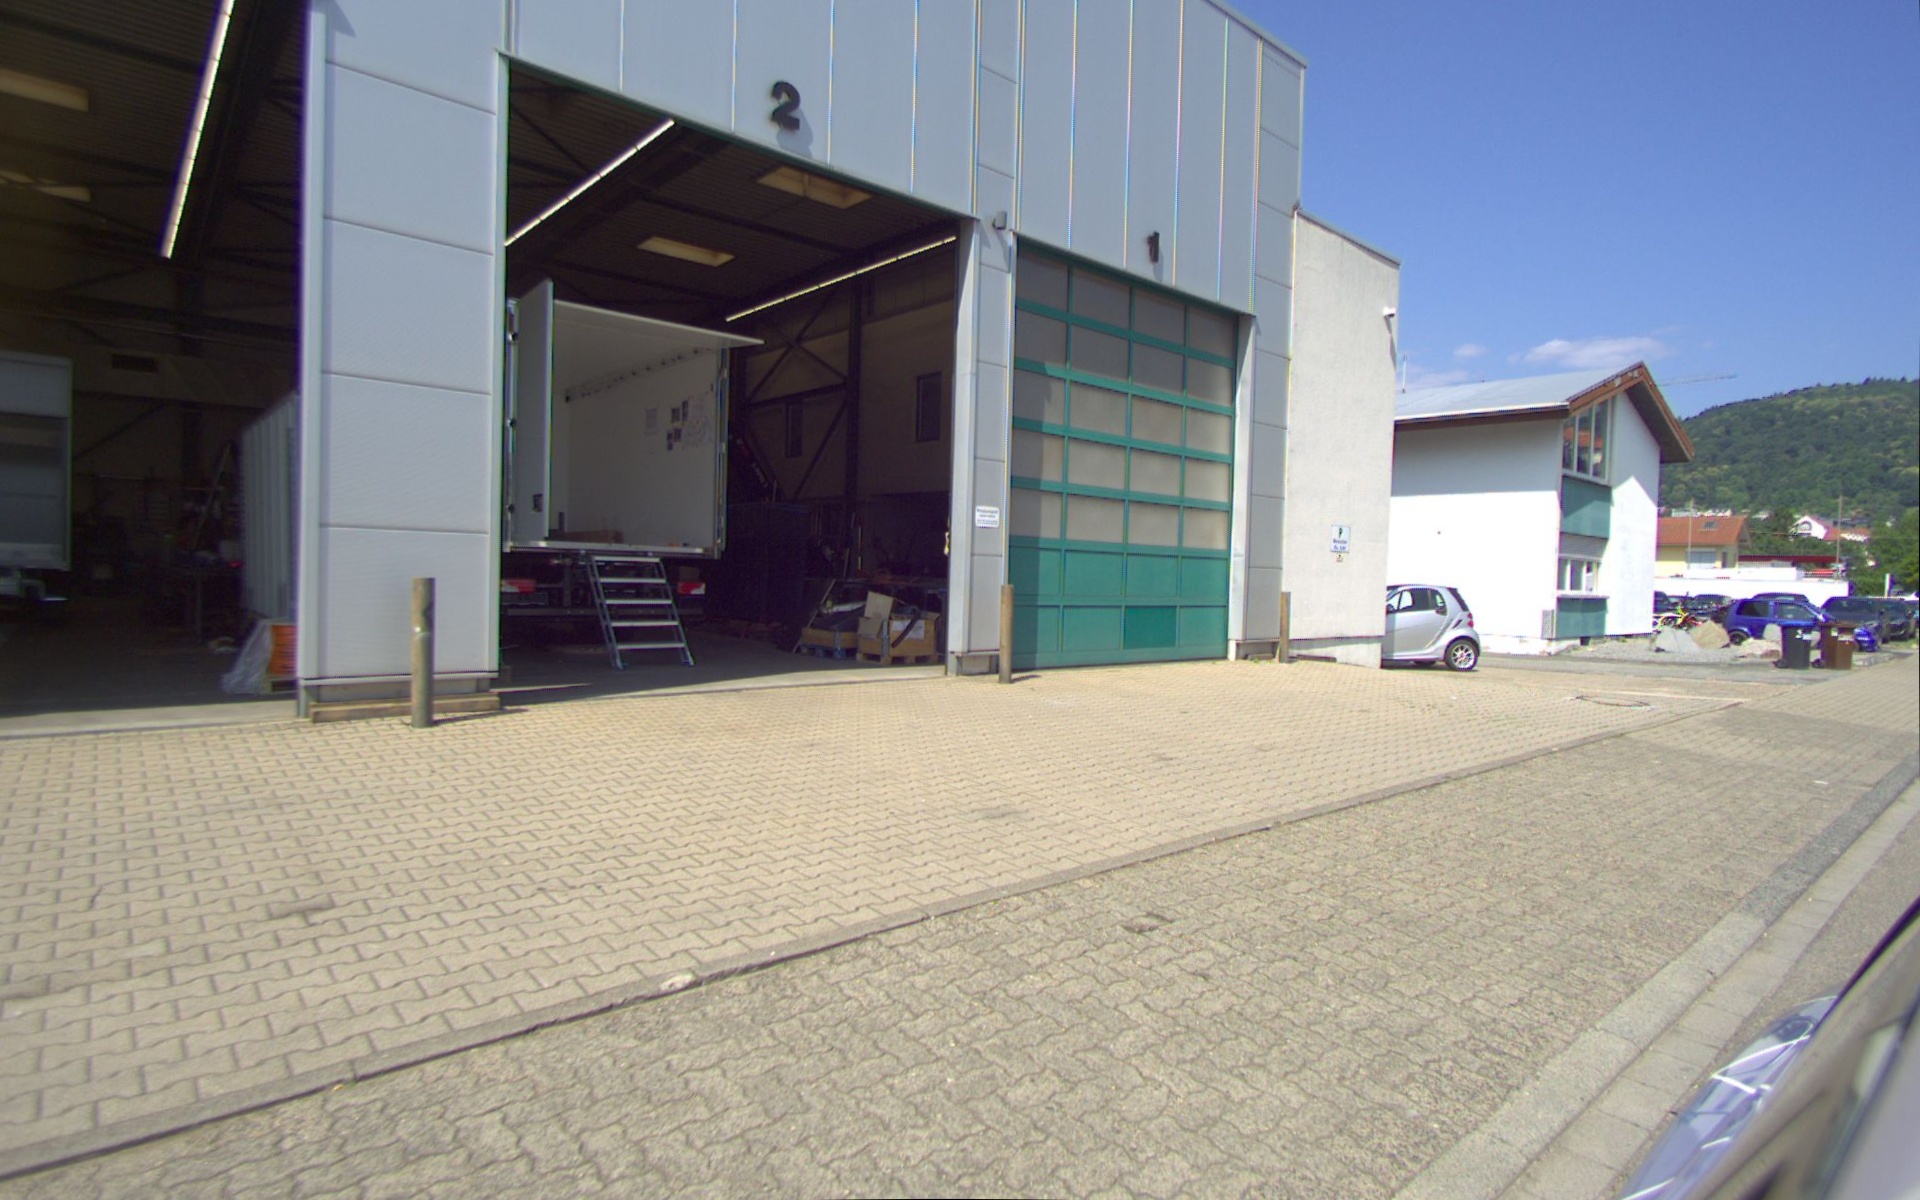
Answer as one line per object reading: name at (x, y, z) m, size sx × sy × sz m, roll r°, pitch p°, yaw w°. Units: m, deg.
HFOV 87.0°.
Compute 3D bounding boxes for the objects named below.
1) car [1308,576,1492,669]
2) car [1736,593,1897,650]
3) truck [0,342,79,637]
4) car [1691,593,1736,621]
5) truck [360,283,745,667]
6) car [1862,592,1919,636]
car at (8.042, 0.395, 18.646) m, size 2.771 × 1.553 × 1.312 m, roll 2°, pitch 0°, yaw 2°
car at (21.918, 0.517, 25.954) m, size 1.427 × 1.357 × 2.973 m, roll 0°, pitch 0°, yaw -40°
truck at (-14.429, -1.504, 14.476) m, size 2.721 × 3.501 × 7.568 m, roll 0°, pitch 2°, yaw -41°
car at (39.165, 0.328, 52.582) m, size 3.135 × 1.396 × 1.449 m, roll -1°, pitch 0°, yaw -45°
truck at (-6.047, -1.433, 13.968) m, size 2.578 × 3.828 × 7.854 m, roll 1°, pitch 2°, yaw -40°
car at (33.970, 0.489, 36.805) m, size 3.134 × 1.515 × 1.450 m, roll -1°, pitch 0°, yaw -43°
